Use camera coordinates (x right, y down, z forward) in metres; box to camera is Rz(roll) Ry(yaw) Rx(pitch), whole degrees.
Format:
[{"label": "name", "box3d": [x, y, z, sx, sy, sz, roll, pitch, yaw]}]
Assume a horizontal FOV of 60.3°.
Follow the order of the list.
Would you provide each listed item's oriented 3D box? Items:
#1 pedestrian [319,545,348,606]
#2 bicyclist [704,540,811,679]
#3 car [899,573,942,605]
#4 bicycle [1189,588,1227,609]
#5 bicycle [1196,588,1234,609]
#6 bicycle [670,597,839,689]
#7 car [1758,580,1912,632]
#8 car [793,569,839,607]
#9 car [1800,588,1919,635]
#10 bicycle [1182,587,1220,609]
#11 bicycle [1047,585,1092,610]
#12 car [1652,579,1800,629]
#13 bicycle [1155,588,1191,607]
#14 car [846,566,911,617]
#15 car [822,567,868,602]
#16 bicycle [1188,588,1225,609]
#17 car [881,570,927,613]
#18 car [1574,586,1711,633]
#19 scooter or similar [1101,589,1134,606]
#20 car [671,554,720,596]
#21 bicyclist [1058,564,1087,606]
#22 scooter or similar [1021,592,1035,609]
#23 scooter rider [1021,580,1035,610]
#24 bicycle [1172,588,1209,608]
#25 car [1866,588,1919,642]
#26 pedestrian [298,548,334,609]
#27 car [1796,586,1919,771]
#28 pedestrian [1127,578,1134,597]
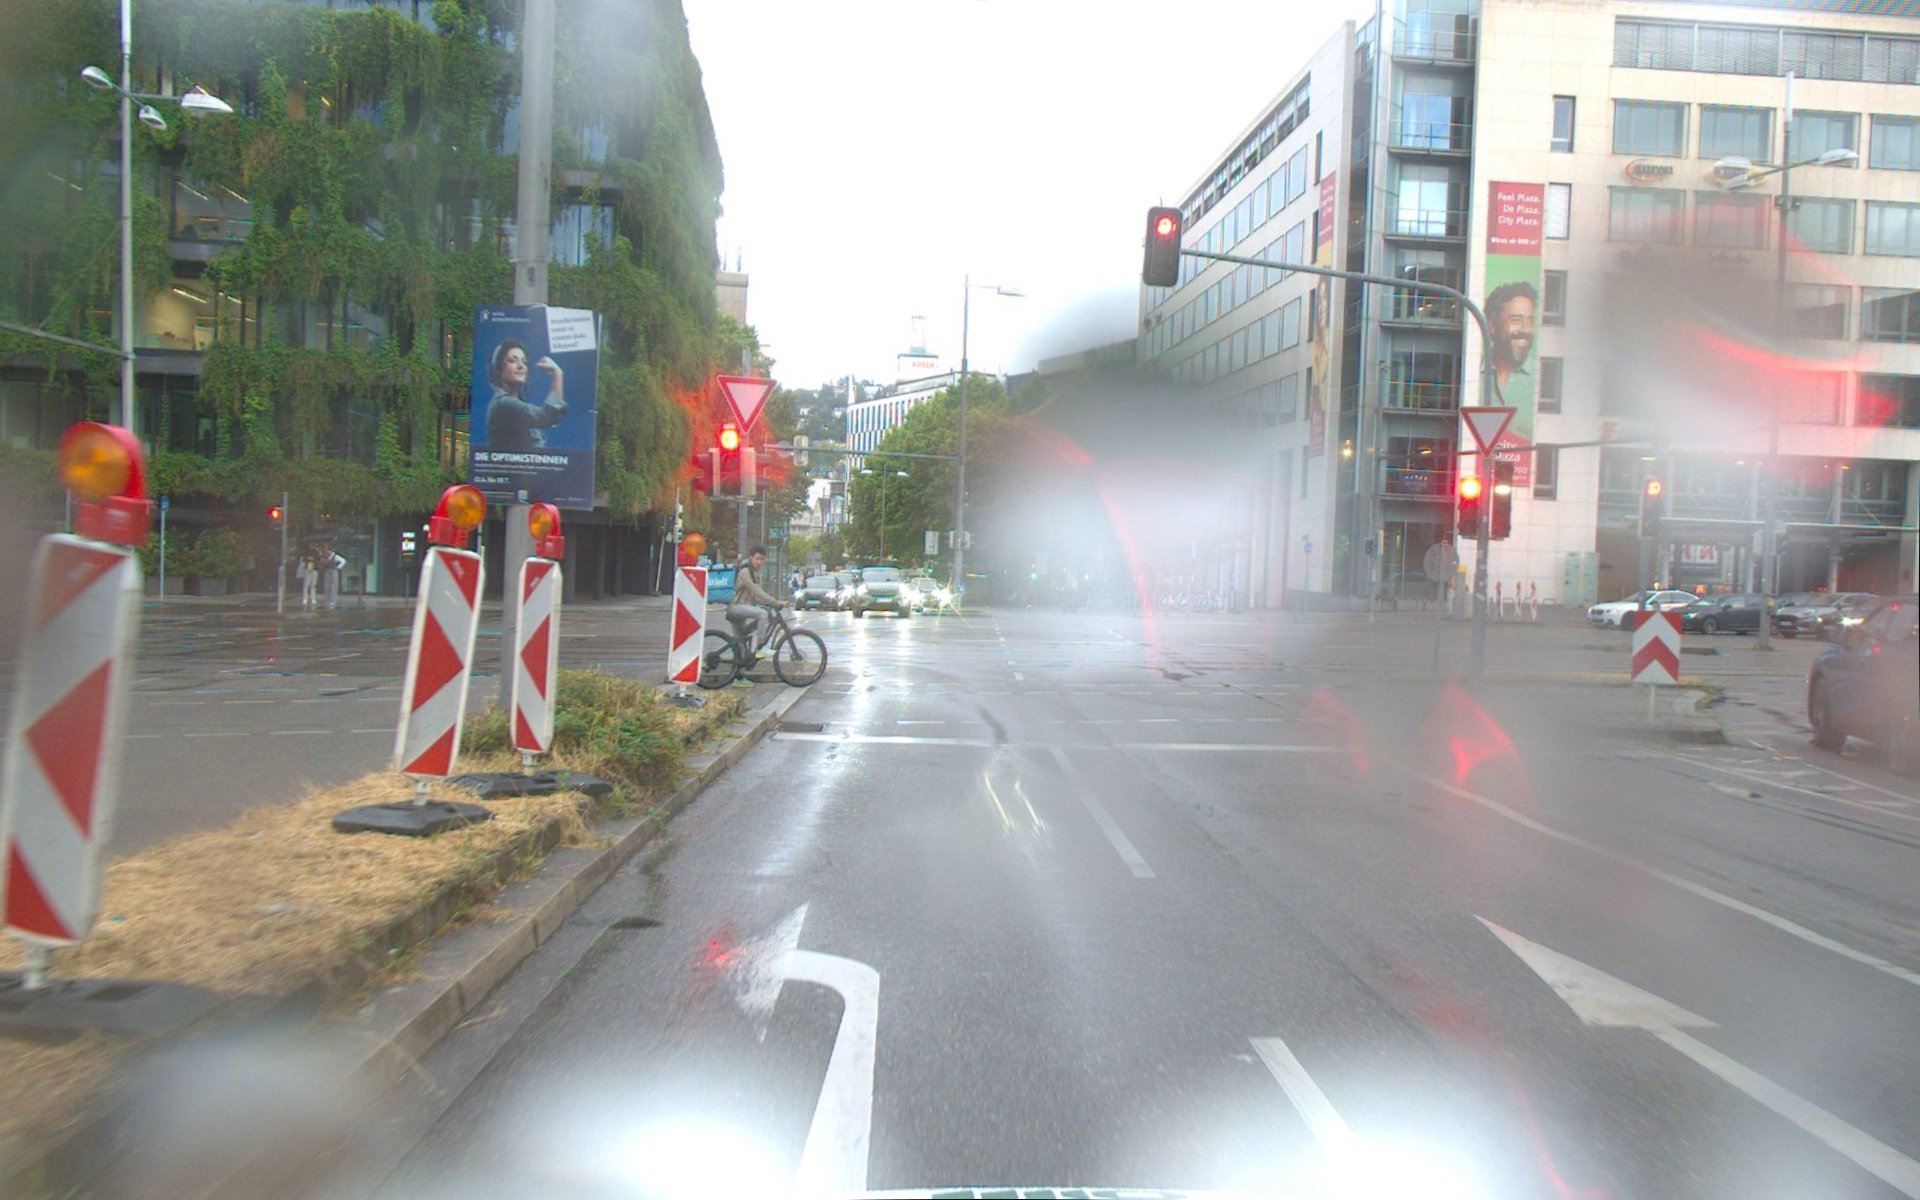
[{"label": "pedestrian", "box3d": [-18.734, -0.739, 49.417, 0.731, 1.788, 0.969, 1, 1, -24]}, {"label": "bicyclist", "box3d": [-2.614, 0.113, 21.270, 1.272, 1.733, 0.846, 1, 1, -12]}, {"label": "car", "box3d": [-2.038, -0.579, 84.383, 1.954, 1.468, 4.553, 1, 2, -4]}, {"label": "bicycle", "box3d": [11.593, -0.087, 77.253, 1.767, 0.950, 0.473, 2, 1, 41]}, {"label": "bicycle", "box3d": [11.766, -0.077, 76.289, 1.767, 0.950, 0.473, 2, 1, 41]}, {"label": "bicycle", "box3d": [-2.664, 0.547, 21.323, 2.107, 1.122, 0.846, 1, 1, -11]}, {"label": "car", "box3d": [29.173, 0.205, 55.193, 4.377, 1.626, 1.992, 1, 1, -16]}, {"label": "car", "box3d": [-6.003, -0.523, 68.981, 1.820, 1.473, 4.617, 1, 1, -5]}, {"label": "car", "box3d": [28.780, 0.361, 51.864, 4.377, 1.372, 1.716, 1, 1, -16]}, {"label": "bicycle", "box3d": [11.019, -0.082, 75.636, 1.767, 0.950, 0.473, 2, 1, 41]}, {"label": "bicycle", "box3d": [5.235, -0.123, 78.948, 0.787, 1.136, 2.222, 1, 1, -41]}, {"label": "car", "box3d": [26.636, 0.142, 57.572, 4.373, 1.626, 1.994, 1, 1, -13]}, {"label": "bicycle", "box3d": [10.839, -0.129, 84.163, 1.757, 0.950, 0.475, 1, 1, 2]}, {"label": "car", "box3d": [-2.764, -0.307, 55.358, 1.955, 1.577, 4.551, 1, 1, -5]}, {"label": "car", "box3d": [-5.277, -0.721, 75.543, 1.821, 1.473, 4.614, 1, 1, -7]}, {"label": "bicycle", "box3d": [11.619, -0.054, 77.998, 1.767, 0.950, 0.473, 2, 1, 41]}, {"label": "car", "box3d": [-2.460, -0.393, 72.195, 1.924, 1.684, 4.363, 1, 2, -2]}, {"label": "car", "box3d": [25.101, 0.358, 60.885, 4.378, 1.626, 1.992, 1, 1, -16]}, {"label": "scooter or similar", "box3d": [8.680, -0.132, 91.159, 1.720, 0.894, 0.486, 1, 0, -20]}, {"label": "car", "box3d": [-12.644, -1.189, 79.383, 1.955, 1.928, 4.461, 1, 1, -5]}, {"label": "bicyclist", "box3d": [5.370, -0.718, 78.825, 0.787, 2.009, 1.097, 1, 1, -41]}, {"label": "scooter or similar", "box3d": [4.157, 0.032, 101.243, 0.545, 1.024, 1.821, 1, 1, -7]}, {"label": "scooter rider", "box3d": [4.150, -0.305, 101.220, 0.748, 1.805, 0.795, 1, 0, -7]}, {"label": "bicycle", "box3d": [11.481, -0.101, 82.324, 1.757, 0.950, 0.475, 1, 1, 2]}, {"label": "car", "box3d": [28.985, 0.459, 48.373, 4.374, 1.489, 1.717, 1, 1, -14]}, {"label": "pedestrian", "box3d": [-19.174, -0.638, 49.244, 0.923, 1.788, 1.163, 1, 1, -24]}, {"label": "car", "box3d": [9.359, 0.664, 15.609, 1.667, 1.556, 4.430, 1, 1, 14]}, {"label": "pedestrian", "box3d": [10.510, -0.781, 101.750, 0.346, 1.194, 0.415, 1, 0, -3]}]
